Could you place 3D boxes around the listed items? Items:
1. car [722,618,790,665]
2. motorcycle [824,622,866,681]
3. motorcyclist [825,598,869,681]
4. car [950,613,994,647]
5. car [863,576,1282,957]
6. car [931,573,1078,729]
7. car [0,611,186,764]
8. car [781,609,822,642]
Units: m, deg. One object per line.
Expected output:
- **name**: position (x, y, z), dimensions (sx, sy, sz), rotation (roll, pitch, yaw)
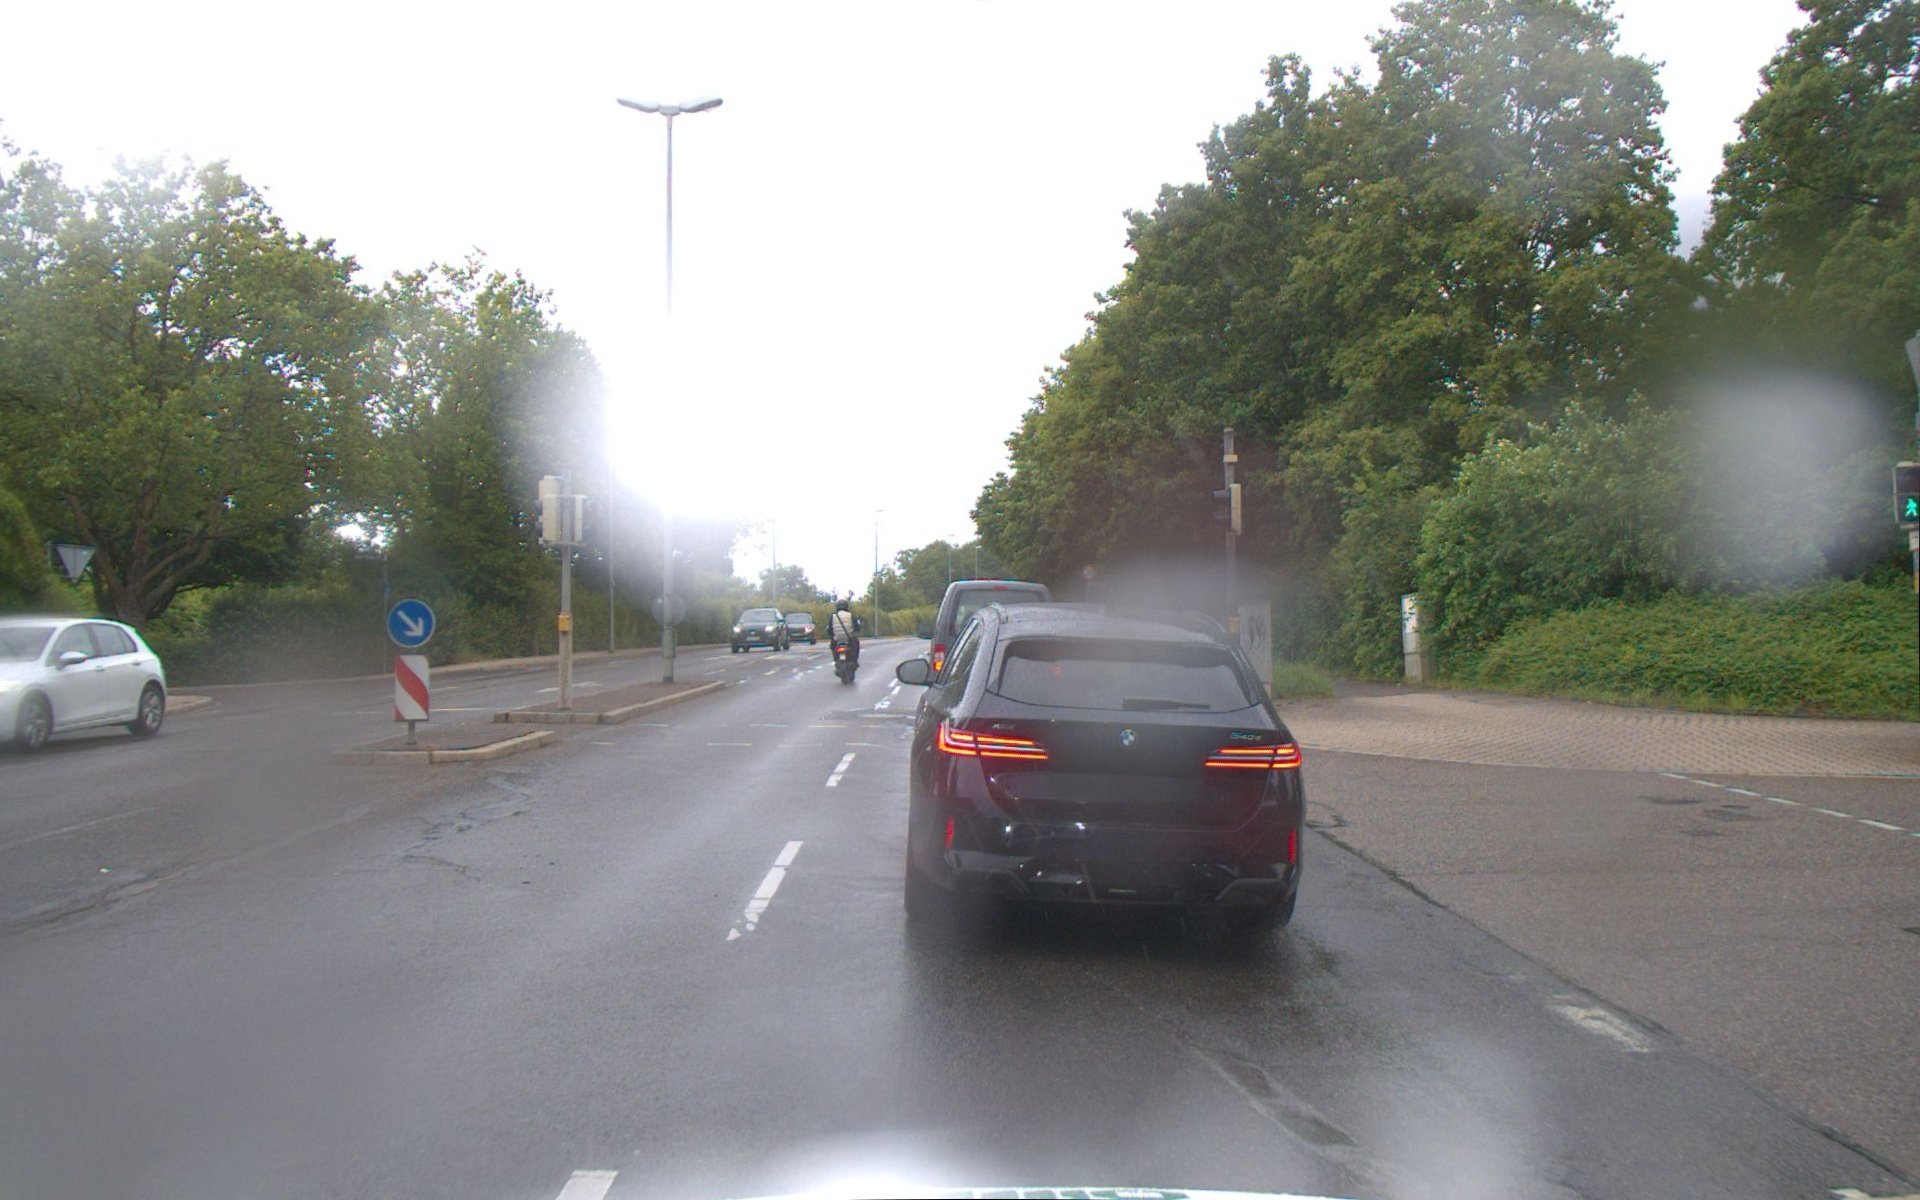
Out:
- **car**: position (-7.514, 1.508, 61.225), dimensions (1.984, 1.590, 3.876), rotation (-2, 0, 0)
- **motorcycle**: position (-2.309, 1.026, 33.465), dimensions (0.726, 1.139, 1.426), rotation (0, 0, 1)
- **motorcyclist**: position (-2.286, 0.793, 33.505), dimensions (0.828, 1.676, 0.468), rotation (0, 0, 0)
- **car**: position (0.528, 1.361, 76.234), dimensions (1.973, 1.440, 4.486), rotation (0, 1, 0)
- **car**: position (0.484, 0.695, 8.667), dimensions (1.728, 1.563, 3.673), rotation (0, 0, 1)
- **car**: position (0.551, 0.577, 21.577), dimensions (1.730, 1.841, 3.906), rotation (0, 1, 1)
- **car**: position (-10.669, 0.946, 18.859), dimensions (1.692, 1.511, 4.156), rotation (-2, 0, 0)
- **car**: position (-8.165, 1.291, 85.388), dimensions (1.759, 1.631, 3.731), rotation (-2, 0, -1)
